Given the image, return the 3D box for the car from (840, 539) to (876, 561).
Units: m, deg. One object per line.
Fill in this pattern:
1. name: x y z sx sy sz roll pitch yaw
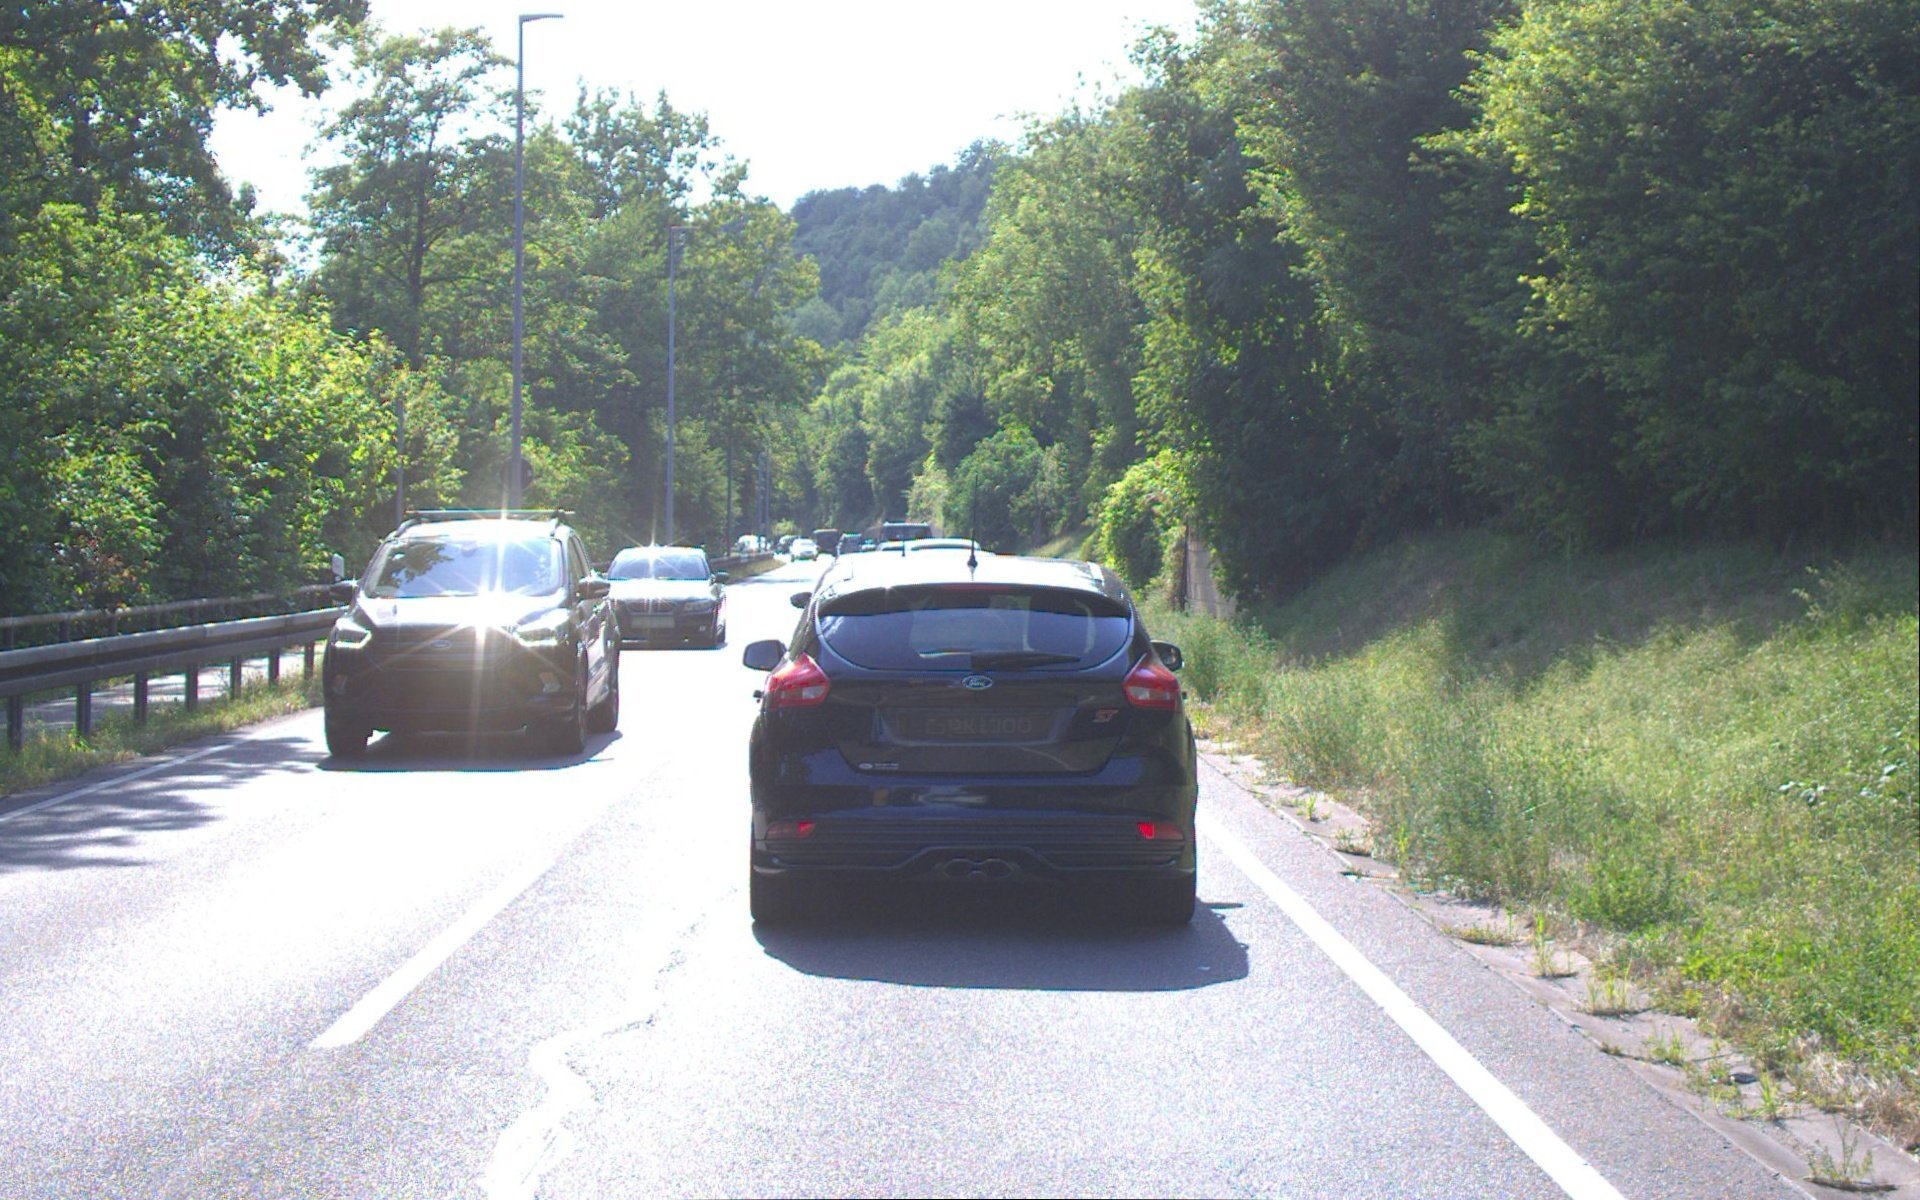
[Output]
1. car: -6.975 -3.423 234.663 1.993 1.514 4.001 0 1 -8

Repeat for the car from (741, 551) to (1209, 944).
1. car: 0.035 0.524 14.872 1.739 1.451 4.000 0 1 -1

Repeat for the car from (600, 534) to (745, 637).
1. car: -4.185 -0.241 50.569 1.691 1.415 4.142 -1 1 1

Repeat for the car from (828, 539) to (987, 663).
1. car: -0.621 -0.022 41.095 1.804 1.387 4.000 0 1 -1

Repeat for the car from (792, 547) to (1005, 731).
1. car: -0.457 0.272 28.902 1.661 1.413 4.000 0 1 1

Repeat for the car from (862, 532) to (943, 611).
1. car: -1.193 -0.624 71.922 1.631 1.590 4.000 0 1 -1

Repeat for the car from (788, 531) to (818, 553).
1. car: -10.263 -3.808 224.427 1.622 1.372 4.048 -2 1 -6

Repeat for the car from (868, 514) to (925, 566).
1. car: -2.212 -2.090 119.353 1.863 1.774 4.001 0 1 -3

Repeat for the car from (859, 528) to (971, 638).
1. car: -0.682 -0.289 52.305 1.631 1.590 4.000 0 1 -1

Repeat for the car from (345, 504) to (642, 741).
1. car: -3.586 0.119 27.097 1.748 1.711 4.221 0 1 0

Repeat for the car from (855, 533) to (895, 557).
1. car: -5.289 -3.423 213.558 1.993 1.514 4.001 0 1 -8

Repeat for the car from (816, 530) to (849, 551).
1. car: -9.259 -4.307 249.232 1.993 1.514 4.001 0 1 -8
